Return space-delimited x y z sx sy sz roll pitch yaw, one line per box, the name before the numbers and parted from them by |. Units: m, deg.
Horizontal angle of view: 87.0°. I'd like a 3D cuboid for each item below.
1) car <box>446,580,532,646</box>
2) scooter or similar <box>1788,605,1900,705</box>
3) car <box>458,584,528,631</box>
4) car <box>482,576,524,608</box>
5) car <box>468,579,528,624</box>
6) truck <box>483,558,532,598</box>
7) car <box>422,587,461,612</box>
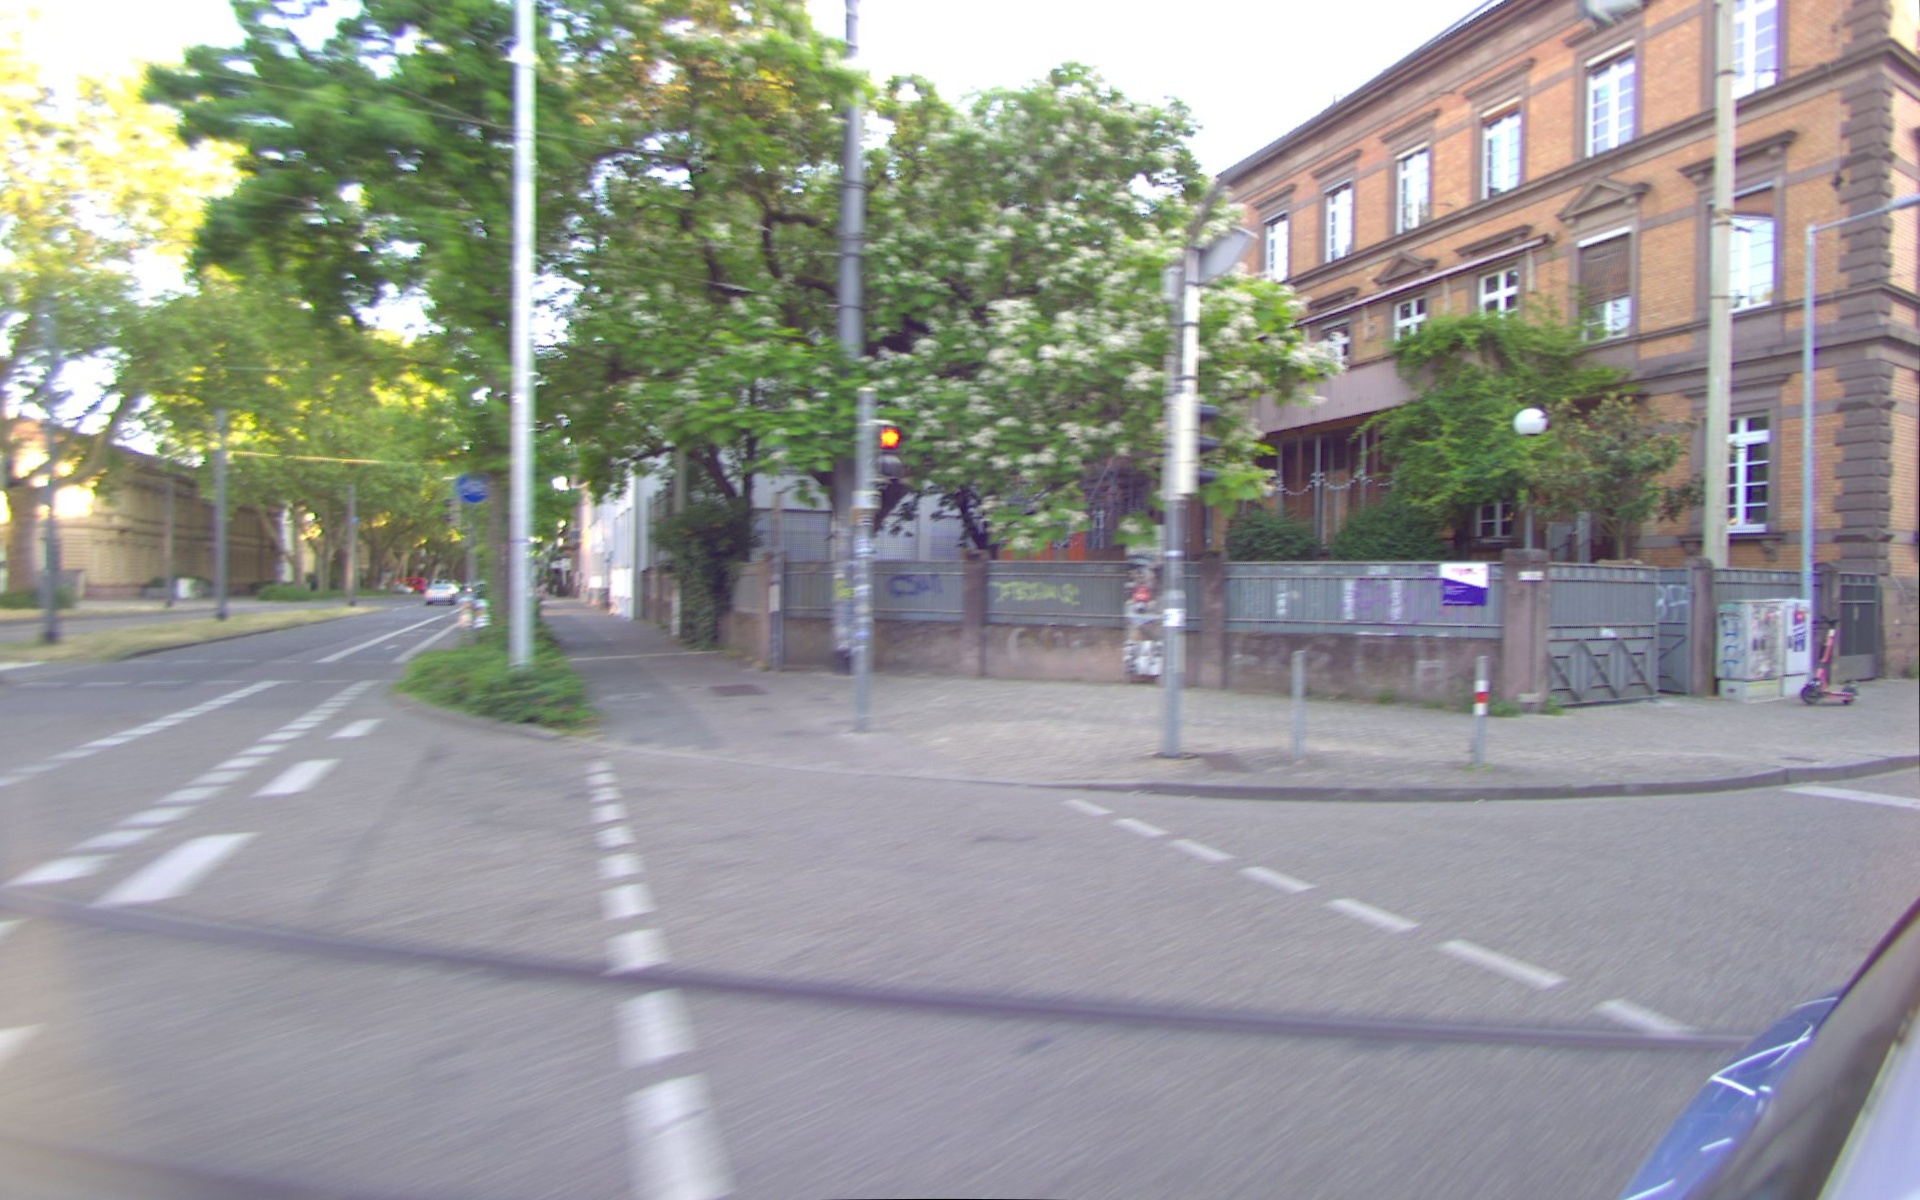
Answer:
car | -12.446 0.274 26.949 1.876 1.571 4.008 -2 1 -22
scooter or similar | 12.185 0.732 13.945 1.551 1.281 0.644 0 2 -29
car | -15.127 0.192 32.977 1.876 1.382 4.008 -2 1 -22
car | -24.208 -0.433 53.687 1.876 1.571 4.008 -2 1 -22
car | -17.557 0.031 38.611 1.876 1.571 4.008 -2 1 -22
truck | -41.839 -1.961 93.815 3.137 3.499 8.884 0 1 -17
car | -35.714 -0.050 69.758 1.958 1.666 4.008 0 1 -21
